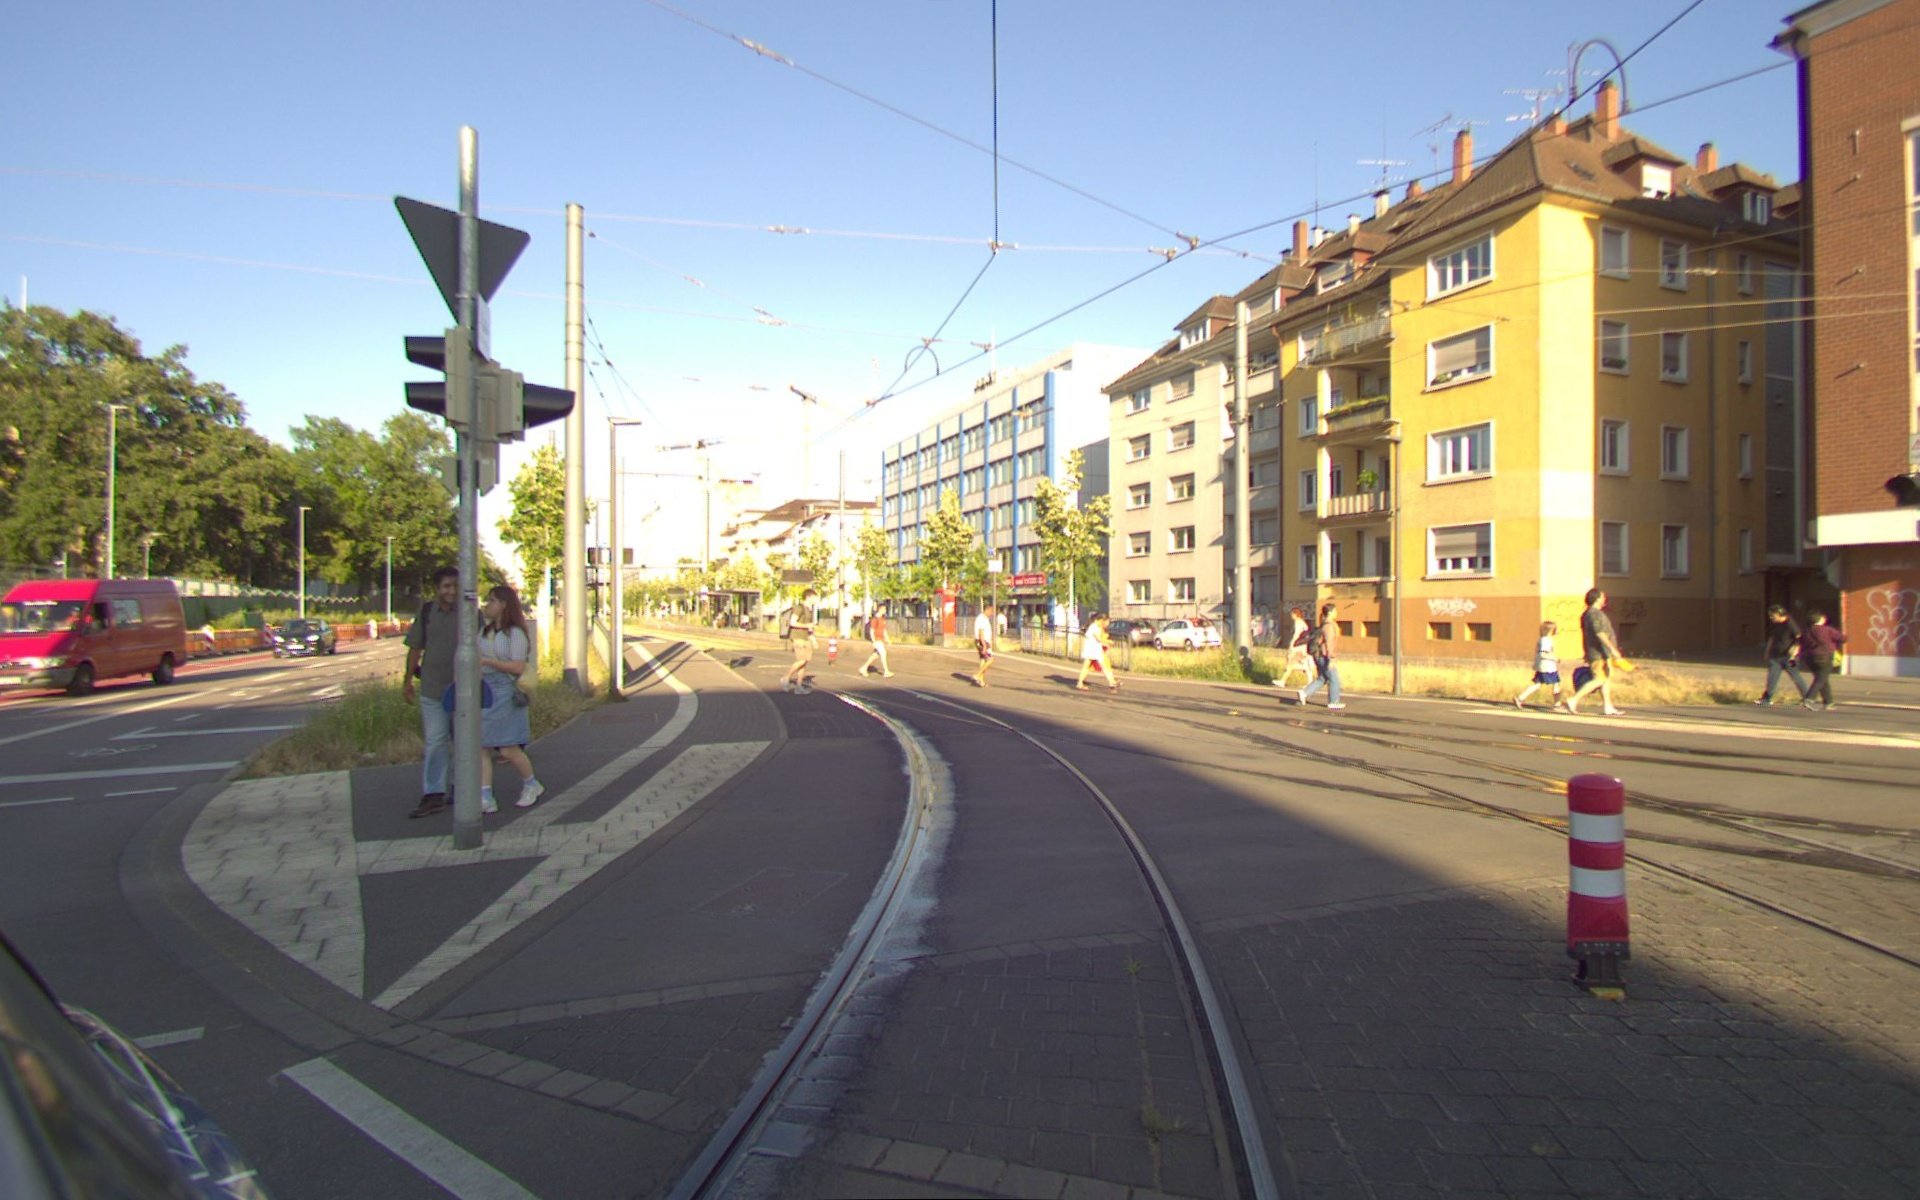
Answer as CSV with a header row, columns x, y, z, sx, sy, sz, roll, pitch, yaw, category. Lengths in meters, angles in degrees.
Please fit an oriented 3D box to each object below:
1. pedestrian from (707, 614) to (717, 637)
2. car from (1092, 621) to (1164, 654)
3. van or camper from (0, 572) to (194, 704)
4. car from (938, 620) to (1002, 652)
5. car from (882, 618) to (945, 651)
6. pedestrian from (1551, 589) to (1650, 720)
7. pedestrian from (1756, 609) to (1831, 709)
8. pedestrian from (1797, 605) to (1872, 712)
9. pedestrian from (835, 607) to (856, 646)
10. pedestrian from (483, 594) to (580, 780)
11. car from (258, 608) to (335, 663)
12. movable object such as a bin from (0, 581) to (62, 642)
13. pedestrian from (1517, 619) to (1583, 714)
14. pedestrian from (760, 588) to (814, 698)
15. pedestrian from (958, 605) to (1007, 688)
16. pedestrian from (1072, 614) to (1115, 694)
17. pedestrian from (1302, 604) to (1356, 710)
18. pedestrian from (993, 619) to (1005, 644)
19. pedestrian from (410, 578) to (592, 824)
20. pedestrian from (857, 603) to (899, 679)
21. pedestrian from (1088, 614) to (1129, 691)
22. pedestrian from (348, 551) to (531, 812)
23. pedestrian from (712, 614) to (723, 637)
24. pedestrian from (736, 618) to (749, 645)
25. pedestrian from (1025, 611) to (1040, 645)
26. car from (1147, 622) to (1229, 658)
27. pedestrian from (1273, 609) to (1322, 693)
x,y,z,sx,sy,sz,roll,pitch,yaw,category
-19.085,1.951,77.808,0.649,1.705,0.774,-1,0,-21,pedestrian
8.531,1.887,51.573,1.854,1.519,3.686,-1,0,-24,car
-19.561,0.775,22.576,1.966,2.548,5.932,-1,0,-17,van or camper
0.468,1.813,52.317,1.854,1.519,3.956,-1,0,-24,car
-2.379,1.713,50.879,1.854,1.519,3.956,-1,0,-24,car
8.987,0.749,14.234,0.889,1.771,0.774,-2,0,8,pedestrian
13.896,0.958,16.879,0.673,1.596,0.842,-1,0,-43,pedestrian
13.596,0.895,15.749,0.787,1.600,0.601,-2,0,36,pedestrian
-5.134,1.191,45.400,0.774,1.685,0.621,-1,0,-21,pedestrian
-4.044,0.783,9.541,0.774,1.653,0.621,-2,0,-25,pedestrian
-26.647,1.394,40.783,1.965,2.029,4.013,-1,0,-24,car
-46.024,0.569,48.423,1.967,2.837,5.882,-1,0,-13,movable object such as a bin
8.719,0.974,14.975,0.599,1.371,0.597,1,-3,-3,pedestrian
-3.040,0.741,17.772,0.774,1.878,0.621,-1,0,-21,pedestrian
0.453,0.928,19.862,0.619,1.561,0.777,-5,-8,39,pedestrian
2.520,1.015,19.153,0.524,1.467,0.630,-2,0,39,pedestrian
5.614,0.848,15.382,0.617,1.547,0.780,-2,0,29,pedestrian
2.784,2.237,72.148,0.635,1.759,0.600,-1,0,-17,pedestrian
-3.317,0.684,7.371,0.783,1.653,0.893,-2,0,22,pedestrian
-1.898,0.926,23.316,0.774,1.711,0.621,-1,0,-21,pedestrian
2.895,1.008,19.728,0.524,1.442,0.630,-2,0,39,pedestrian
-3.894,0.583,7.629,0.782,1.815,0.893,0,-2,21,pedestrian
-18.134,1.920,75.694,0.649,1.705,0.774,-1,0,-18,pedestrian
-14.276,2.067,66.401,0.649,1.705,0.774,-1,0,-25,pedestrian
4.097,1.568,57.261,0.552,1.861,0.725,-1,0,-17,pedestrian
10.546,1.820,47.127,1.854,1.519,3.686,-1,0,-24,car
6.575,0.977,19.744,0.675,1.596,0.841,-2,0,4,pedestrian
